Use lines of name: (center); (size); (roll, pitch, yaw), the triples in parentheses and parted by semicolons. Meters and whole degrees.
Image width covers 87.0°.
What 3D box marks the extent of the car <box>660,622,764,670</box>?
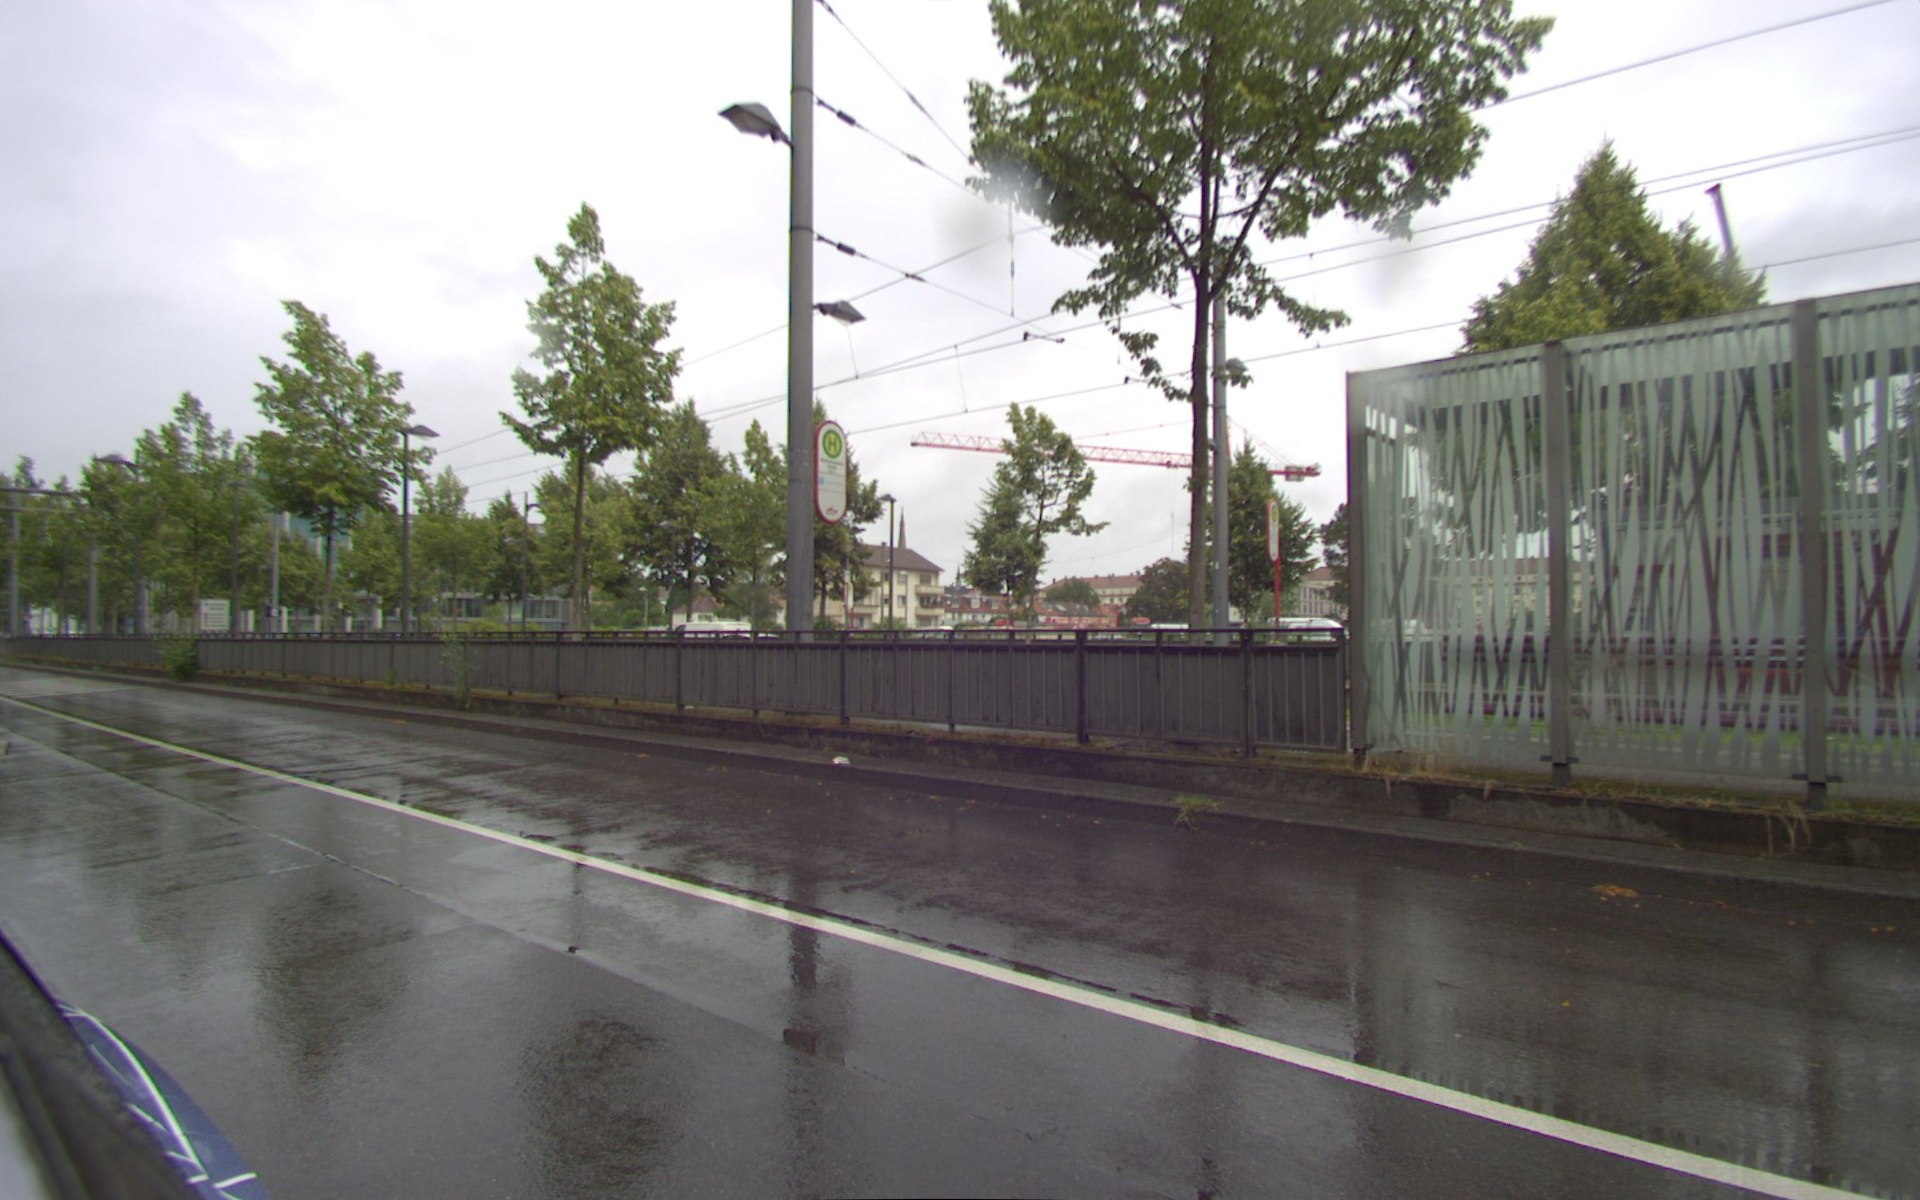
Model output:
car: (-9.918, 1.787, 40.426); (3.994, 1.759, 1.975); (-1, 0, 38)

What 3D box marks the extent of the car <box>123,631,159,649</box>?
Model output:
car: (-81.912, 3.993, 101.230); (3.994, 1.759, 1.975); (-1, 0, 38)

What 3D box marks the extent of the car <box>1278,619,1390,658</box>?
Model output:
car: (25.091, 2.560, 68.097); (6.735, 2.480, 1.976); (-1, 0, 36)

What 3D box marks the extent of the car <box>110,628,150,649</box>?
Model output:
car: (-76.478, 3.528, 93.227); (3.994, 1.759, 1.975); (-1, 0, 38)

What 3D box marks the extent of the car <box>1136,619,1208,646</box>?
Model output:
car: (19.184, 2.962, 91.732); (6.123, 2.323, 1.979); (-1, 0, 32)

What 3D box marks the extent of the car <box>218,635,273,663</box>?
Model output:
car: (-49.149, 3.350, 69.594); (3.994, 1.759, 1.975); (-1, 0, 38)

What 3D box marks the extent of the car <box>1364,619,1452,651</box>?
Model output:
car: (31.591, 2.461, 71.425); (5.411, 2.067, 1.976); (-1, 0, 36)
